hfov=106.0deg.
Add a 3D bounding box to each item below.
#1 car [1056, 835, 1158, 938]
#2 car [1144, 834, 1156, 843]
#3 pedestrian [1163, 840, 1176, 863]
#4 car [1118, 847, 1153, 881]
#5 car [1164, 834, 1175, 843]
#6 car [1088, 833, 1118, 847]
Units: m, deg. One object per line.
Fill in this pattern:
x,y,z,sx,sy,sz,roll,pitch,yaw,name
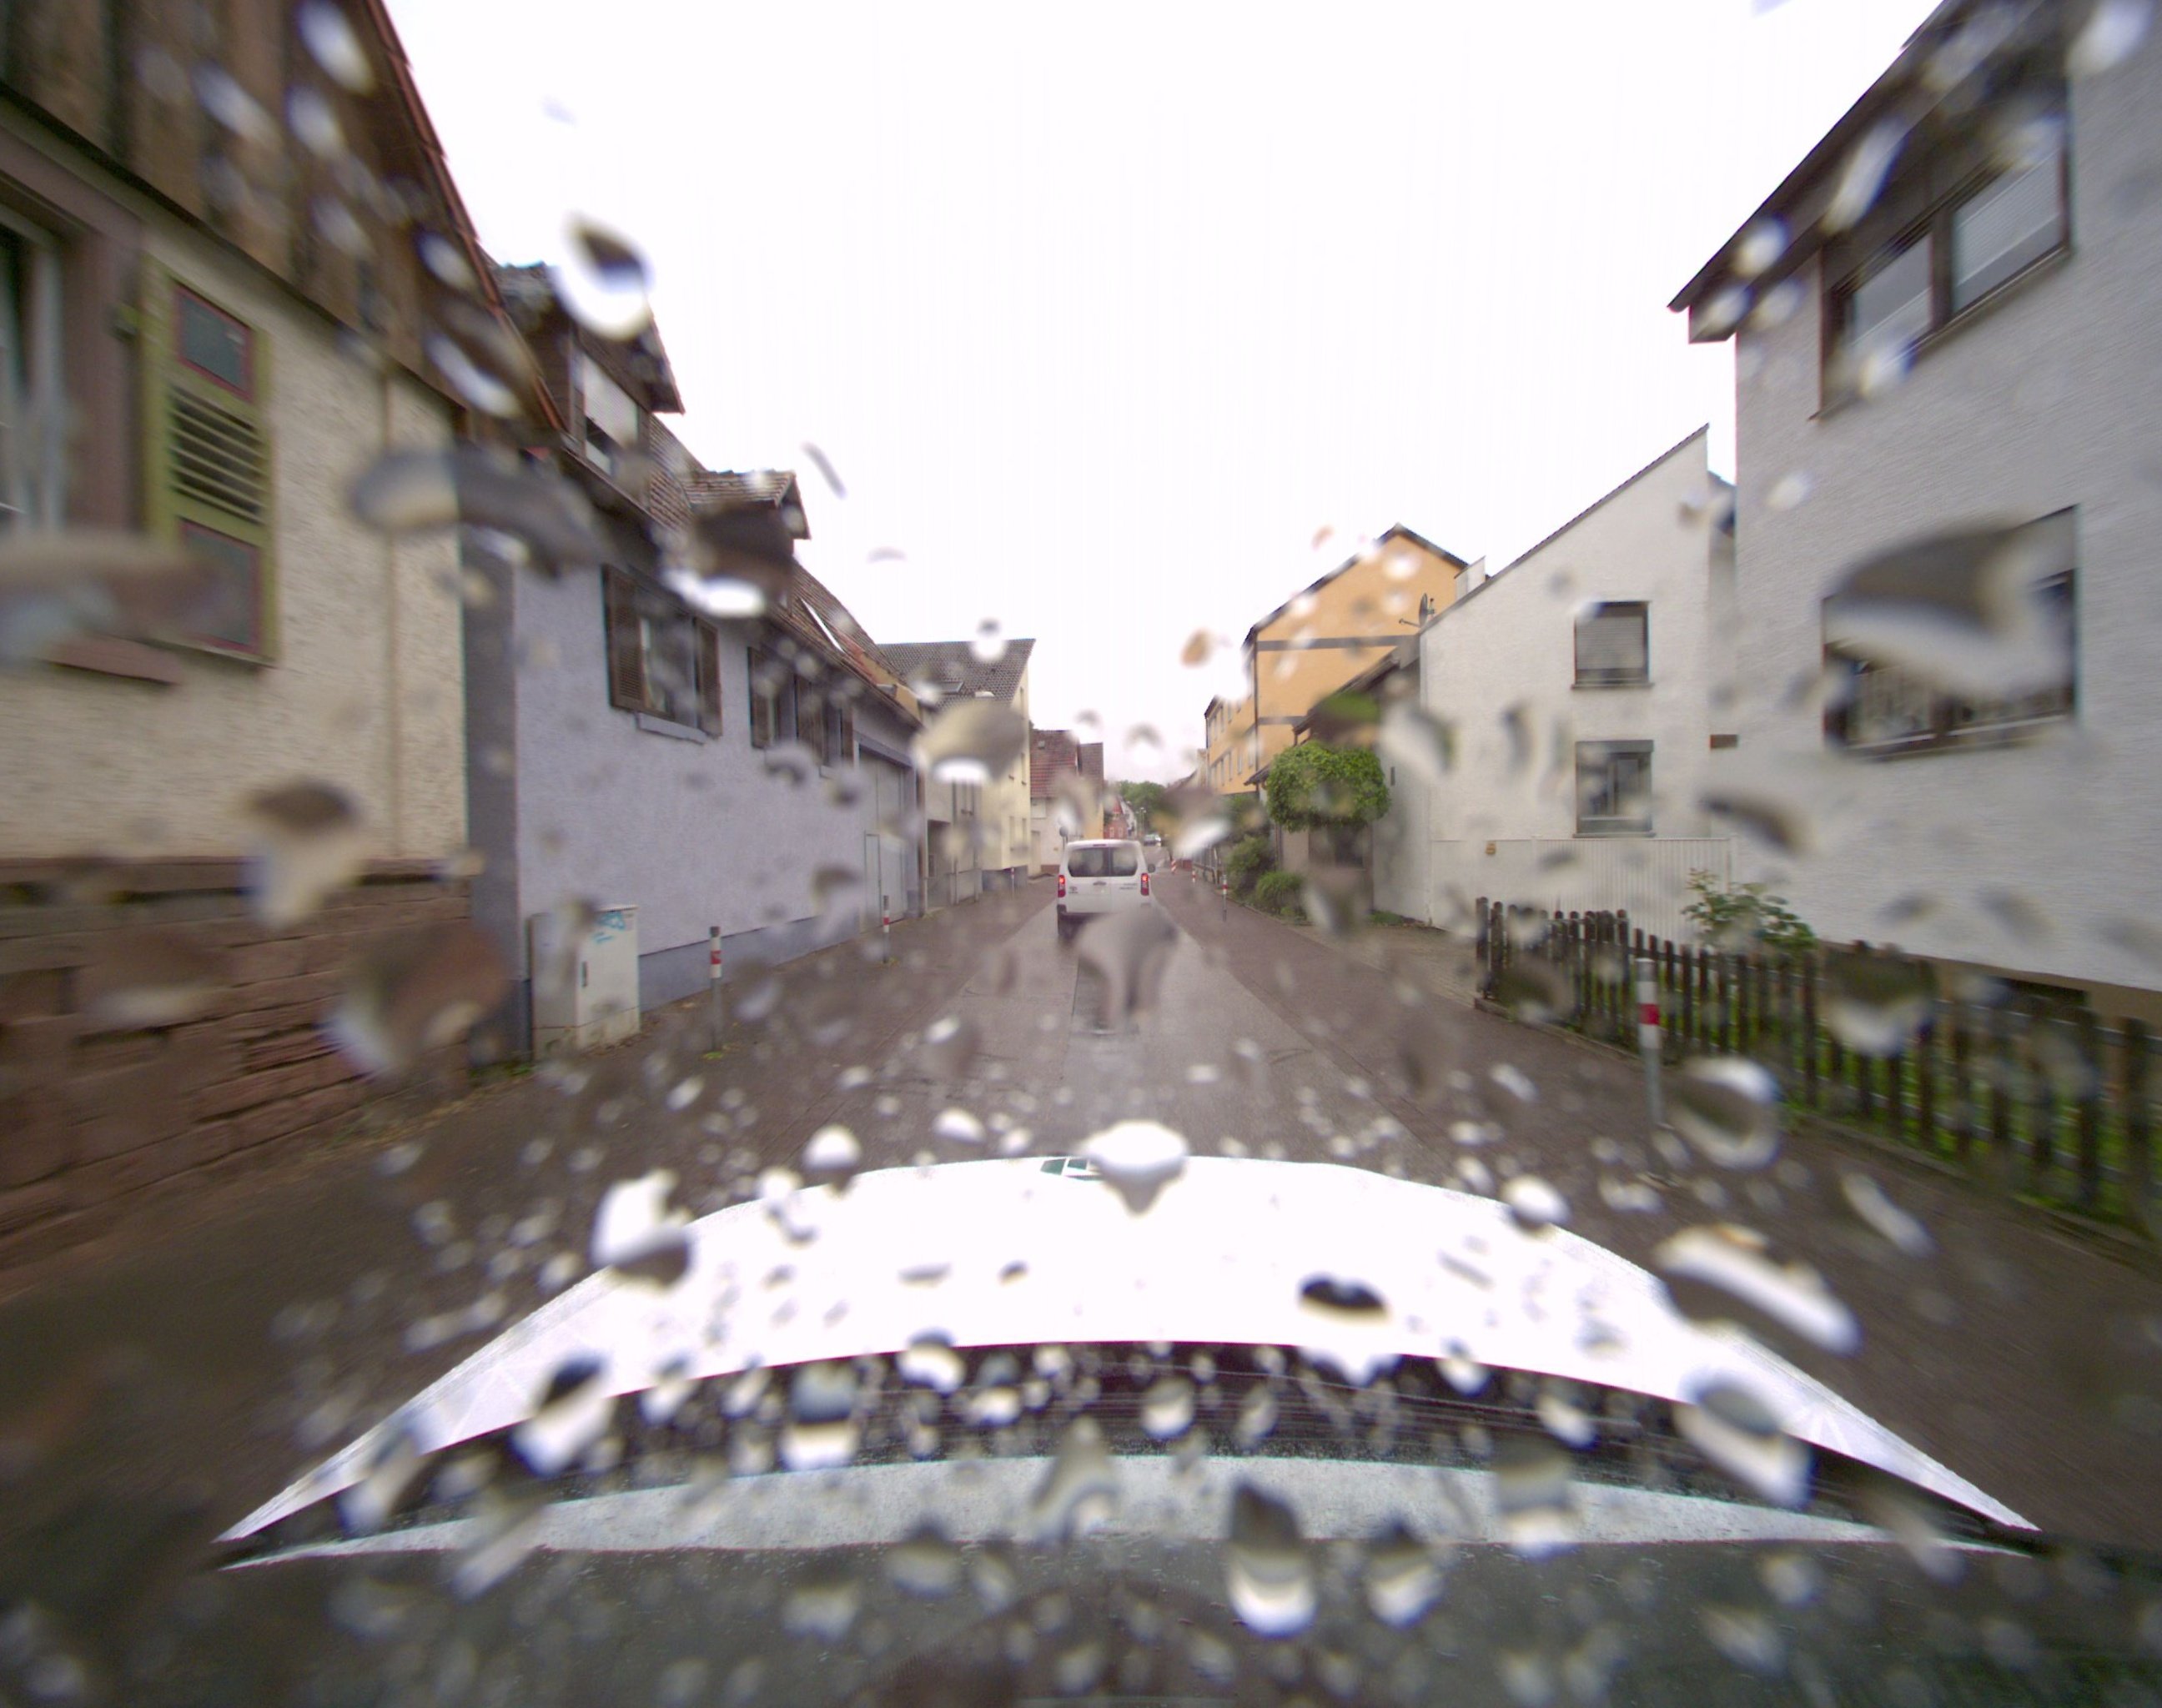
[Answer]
0.511,0.584,16.710,1.768,1.780,4.001,-2,0,1,car
11.186,-2.450,132.450,1.579,1.441,3.776,0,0,10,car
7.753,-0.218,71.302,1.046,1.892,0.878,-2,0,2,pedestrian
3.536,0.606,52.048,1.984,2.013,4.006,-2,0,6,car
14.543,-2.506,134.063,1.579,1.441,3.775,0,0,9,car
2.901,-1.910,108.459,3.433,1.559,1.986,-5,2,-21,car
